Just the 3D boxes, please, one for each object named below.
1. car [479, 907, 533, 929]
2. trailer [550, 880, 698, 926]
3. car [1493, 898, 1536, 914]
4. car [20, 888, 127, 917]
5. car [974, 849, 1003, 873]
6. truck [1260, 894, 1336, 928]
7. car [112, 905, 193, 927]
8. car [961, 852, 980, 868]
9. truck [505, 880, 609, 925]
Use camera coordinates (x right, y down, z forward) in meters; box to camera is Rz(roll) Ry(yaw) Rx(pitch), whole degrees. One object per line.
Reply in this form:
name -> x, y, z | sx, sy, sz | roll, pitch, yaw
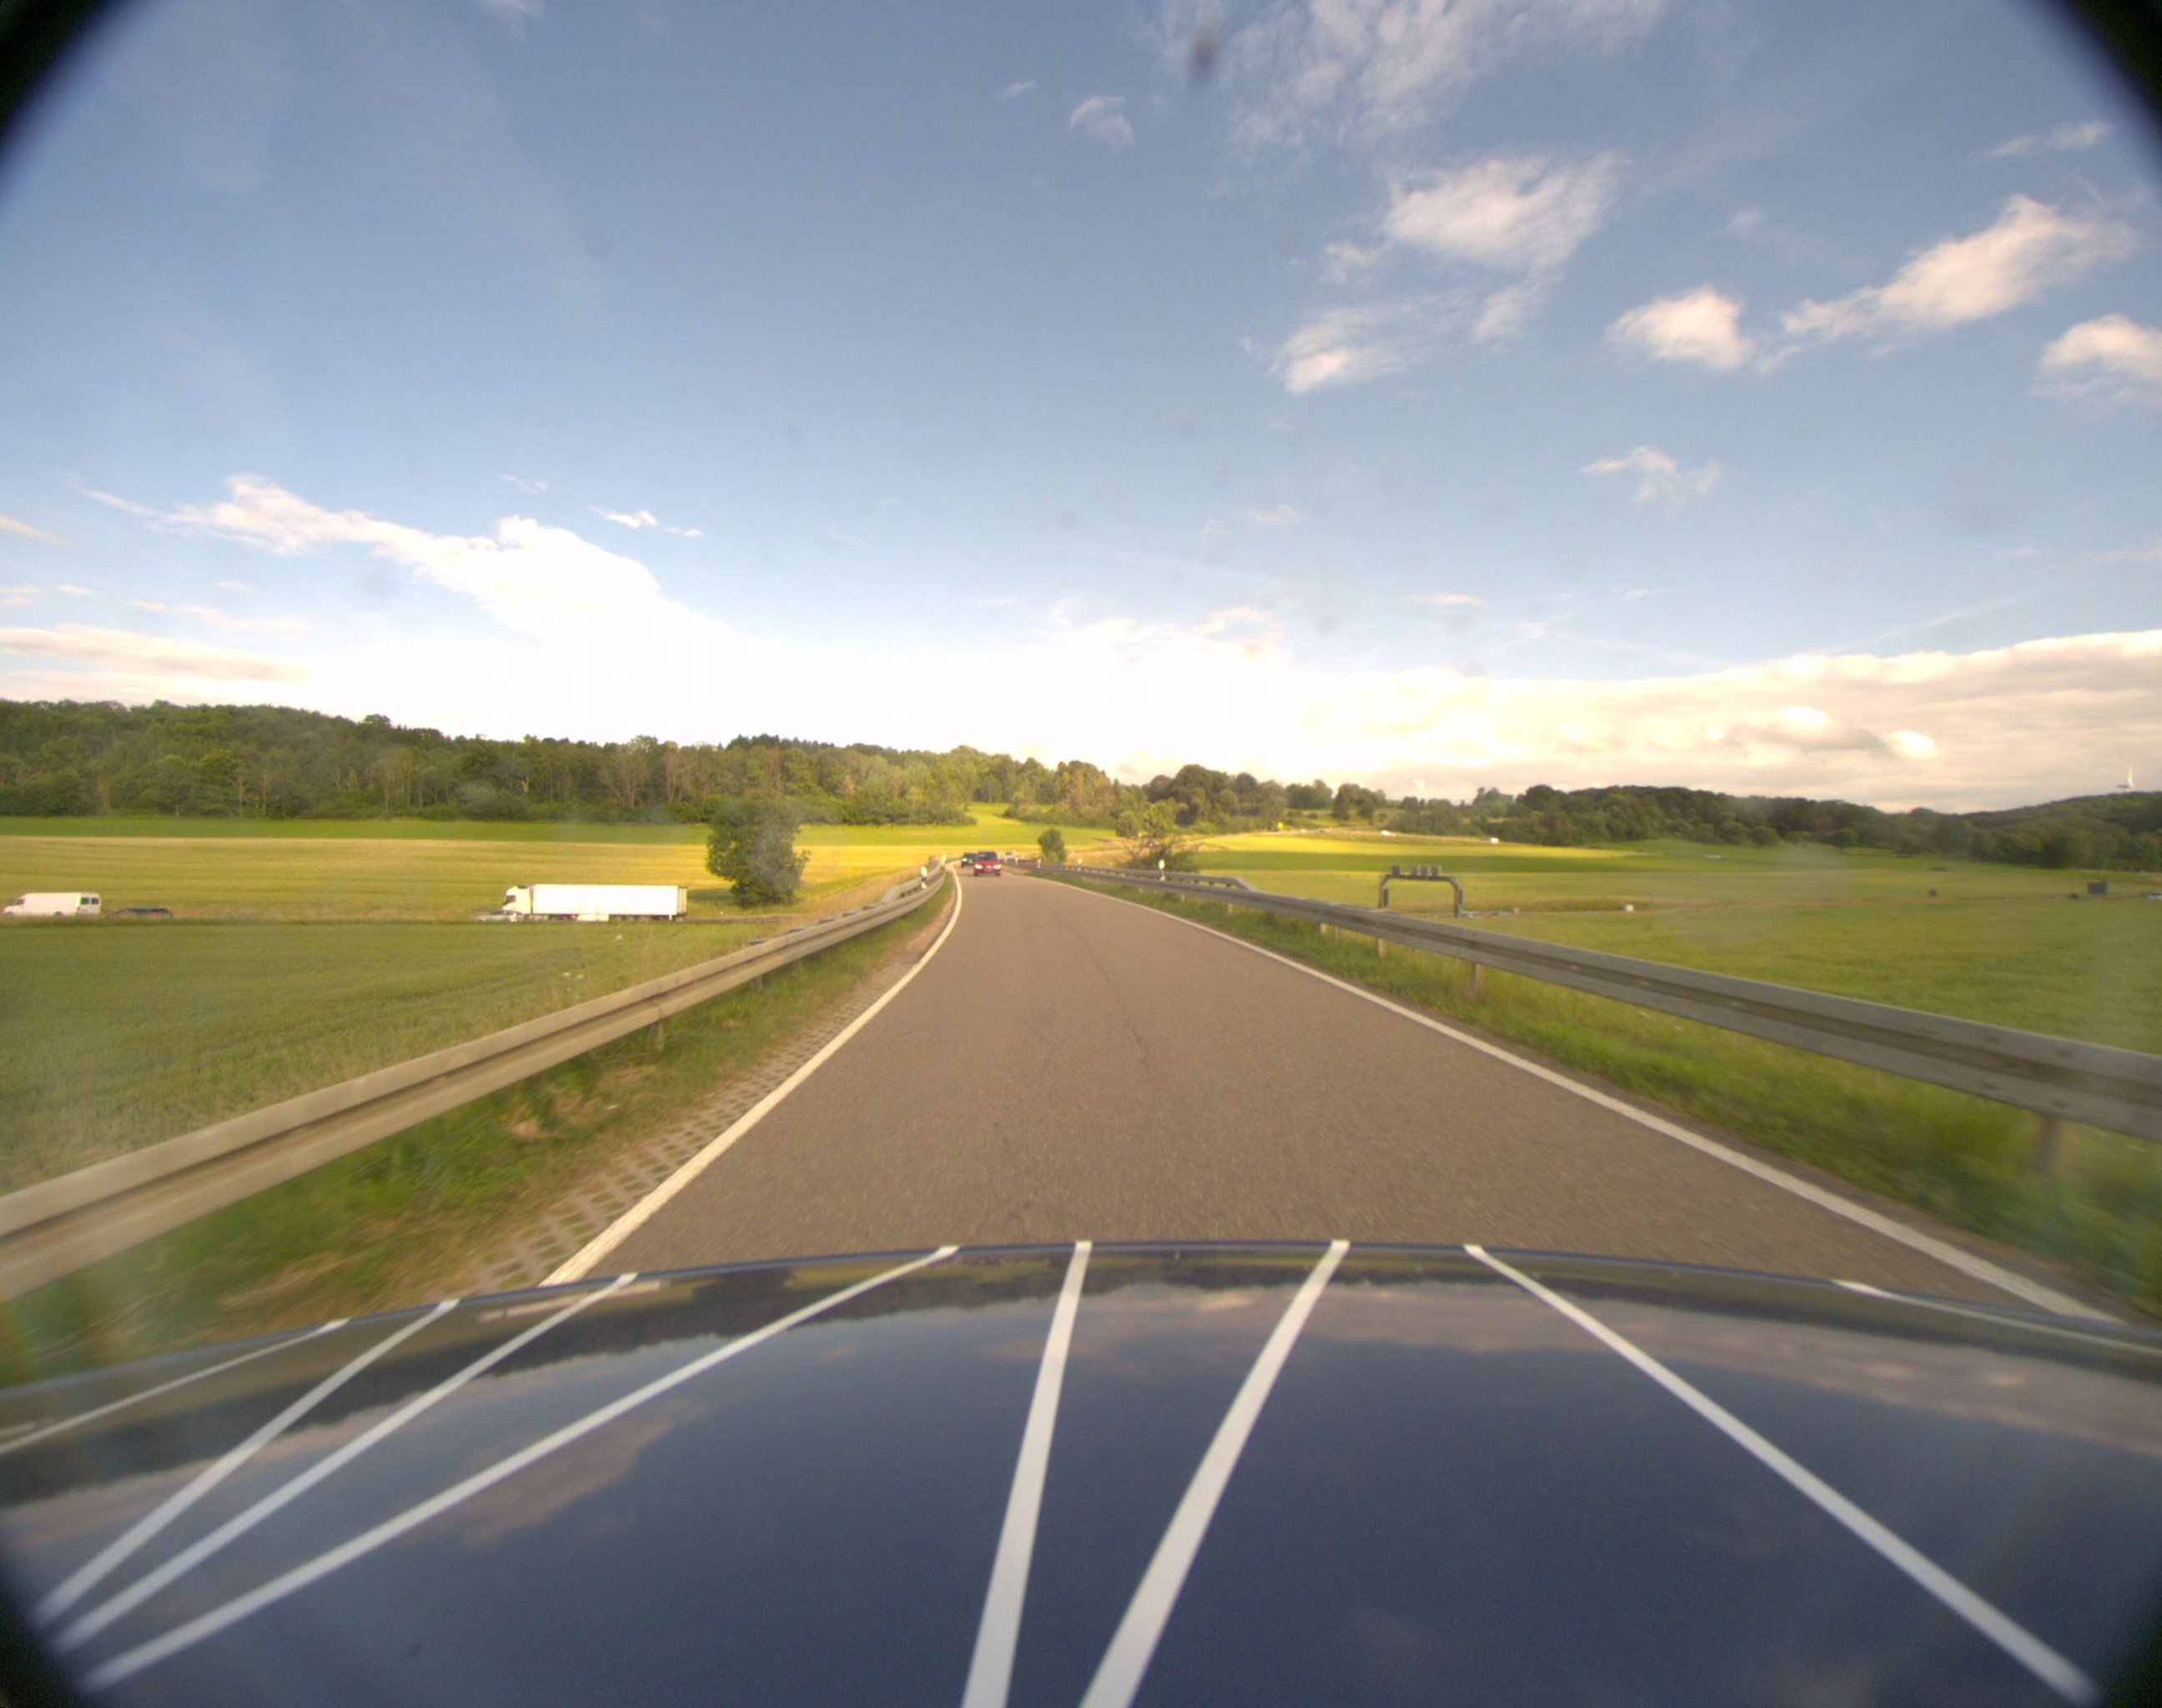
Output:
car -> -53.942, 6.019, 71.329 | 3.467, 1.634, 1.760 | -2, 4, -8
trailer -> -46.652, 5.011, 78.019 | 12.727, 4.440, 3.031 | 1, -2, -8
car -> 49.135, 5.888, 86.095 | 4.002, 1.641, 1.826 | 1, 2, -14
car -> -95.275, 4.623, 71.923 | 6.122, 2.568, 2.373 | 2, -4, -6
car -> -6.593, 0.533, 53.826 | 1.822, 1.645, 3.997 | 0, -1, -9
truck -> 25.756, 6.808, 90.195 | 8.500, 3.386, 2.121 | 4, 1, -13
car -> -81.622, 5.434, 66.835 | 4.374, 1.692, 1.776 | 1, 2, -10
car -> -11.745, 0.629, 80.669 | 1.822, 1.602, 3.997 | 2, 1, -7
truck -> -53.054, 4.899, 77.098 | 8.056, 4.440, 3.028 | 1, -2, -8
